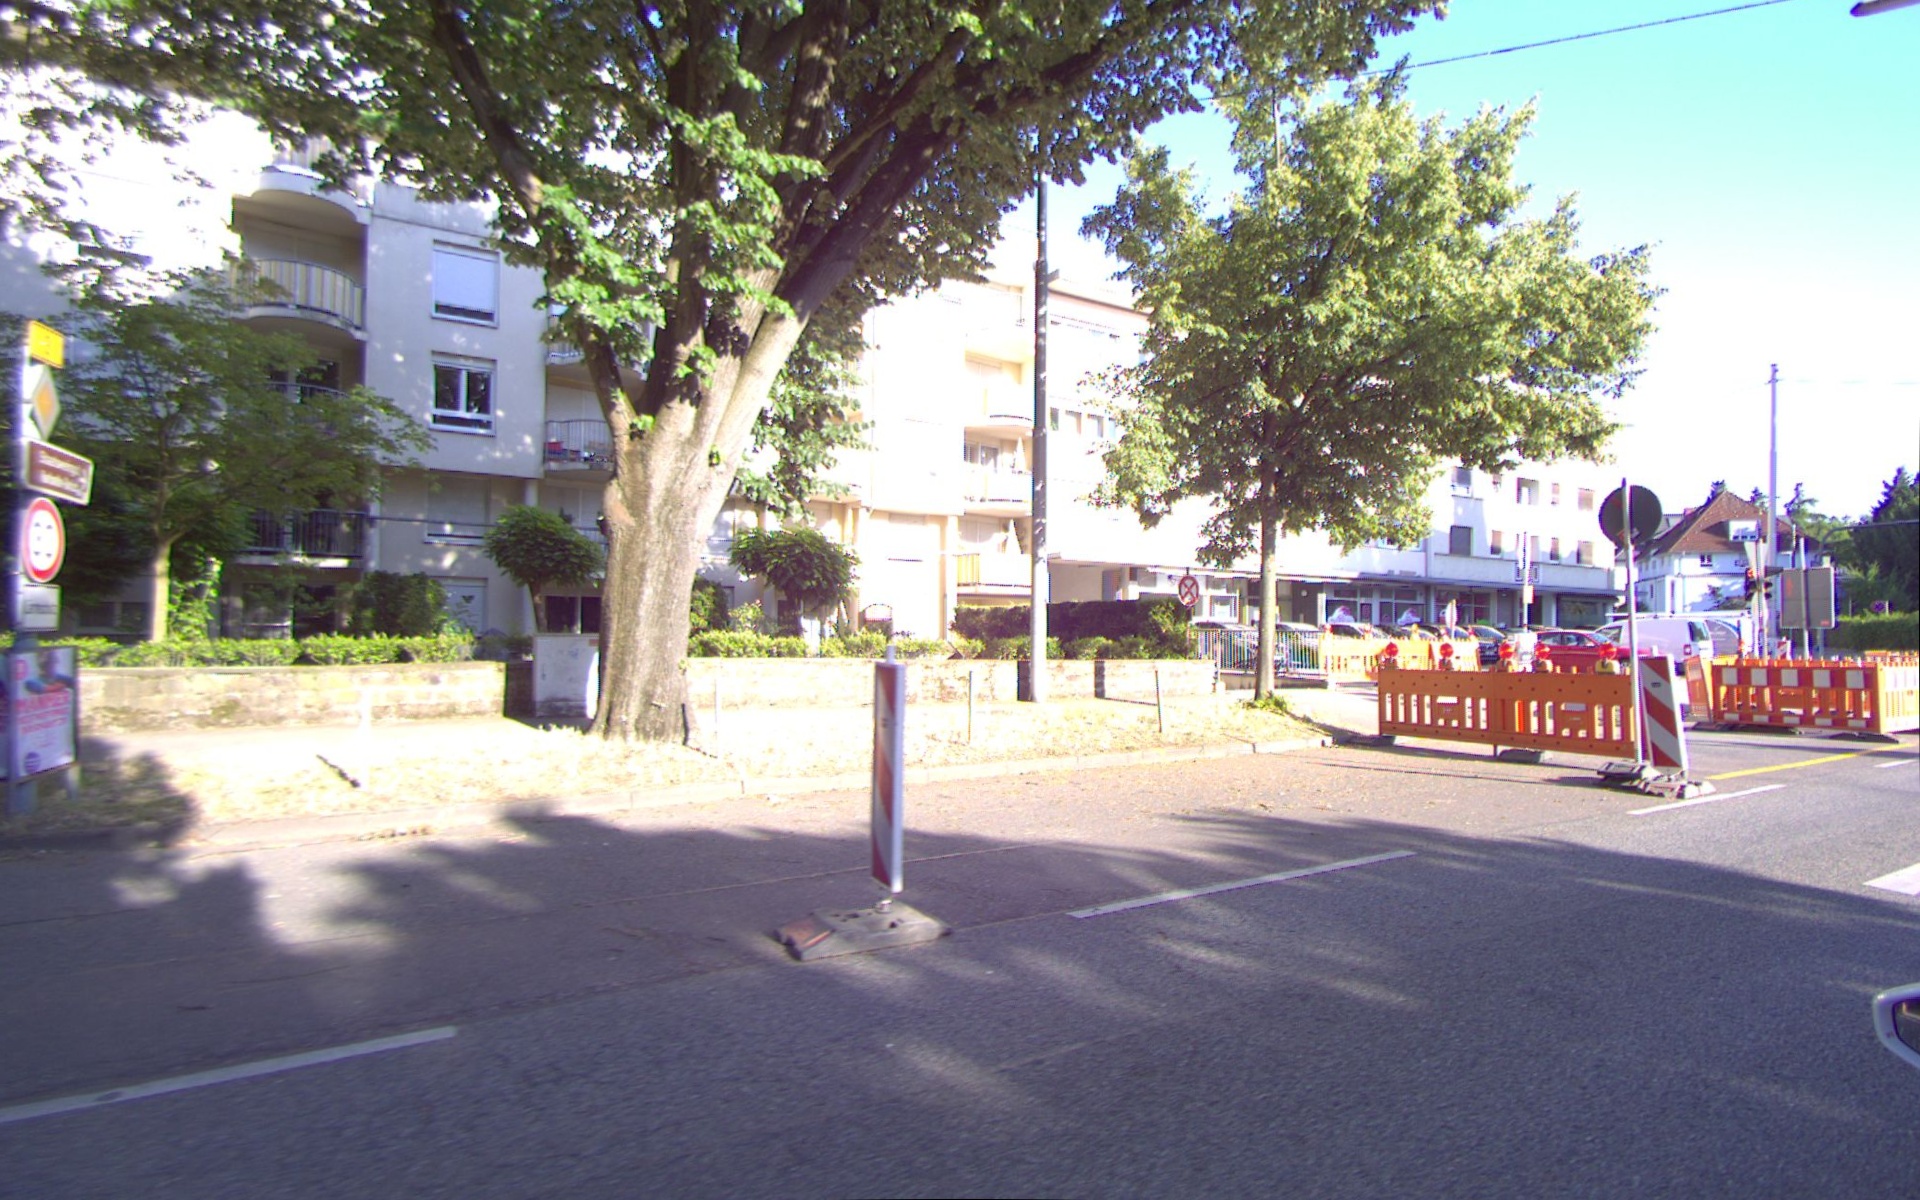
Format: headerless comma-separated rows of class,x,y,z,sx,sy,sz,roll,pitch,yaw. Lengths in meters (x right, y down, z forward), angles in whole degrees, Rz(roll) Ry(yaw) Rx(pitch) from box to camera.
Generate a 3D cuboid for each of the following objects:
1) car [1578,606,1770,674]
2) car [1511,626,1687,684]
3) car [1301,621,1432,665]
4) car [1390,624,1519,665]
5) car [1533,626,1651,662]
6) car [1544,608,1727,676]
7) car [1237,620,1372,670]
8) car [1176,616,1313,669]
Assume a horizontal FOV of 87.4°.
car,23.081,1.219,32.651,2.094,1.991,4.641,1,0,-32
car,18.843,1.562,29.783,1.980,1.498,3.966,1,0,-34
car,15.146,1.555,37.620,1.975,1.417,4.296,1,0,-28
car,19.544,1.713,39.887,1.975,1.417,4.296,1,0,-28
car,28.542,1.945,45.525,1.968,1.417,4.312,1,0,-17
car,20.863,1.243,31.225,1.975,1.876,4.297,1,0,-27
car,11.962,1.507,35.155,1.975,1.530,4.296,1,0,-28
car,9.344,1.353,33.309,1.975,1.532,4.296,1,0,-28
